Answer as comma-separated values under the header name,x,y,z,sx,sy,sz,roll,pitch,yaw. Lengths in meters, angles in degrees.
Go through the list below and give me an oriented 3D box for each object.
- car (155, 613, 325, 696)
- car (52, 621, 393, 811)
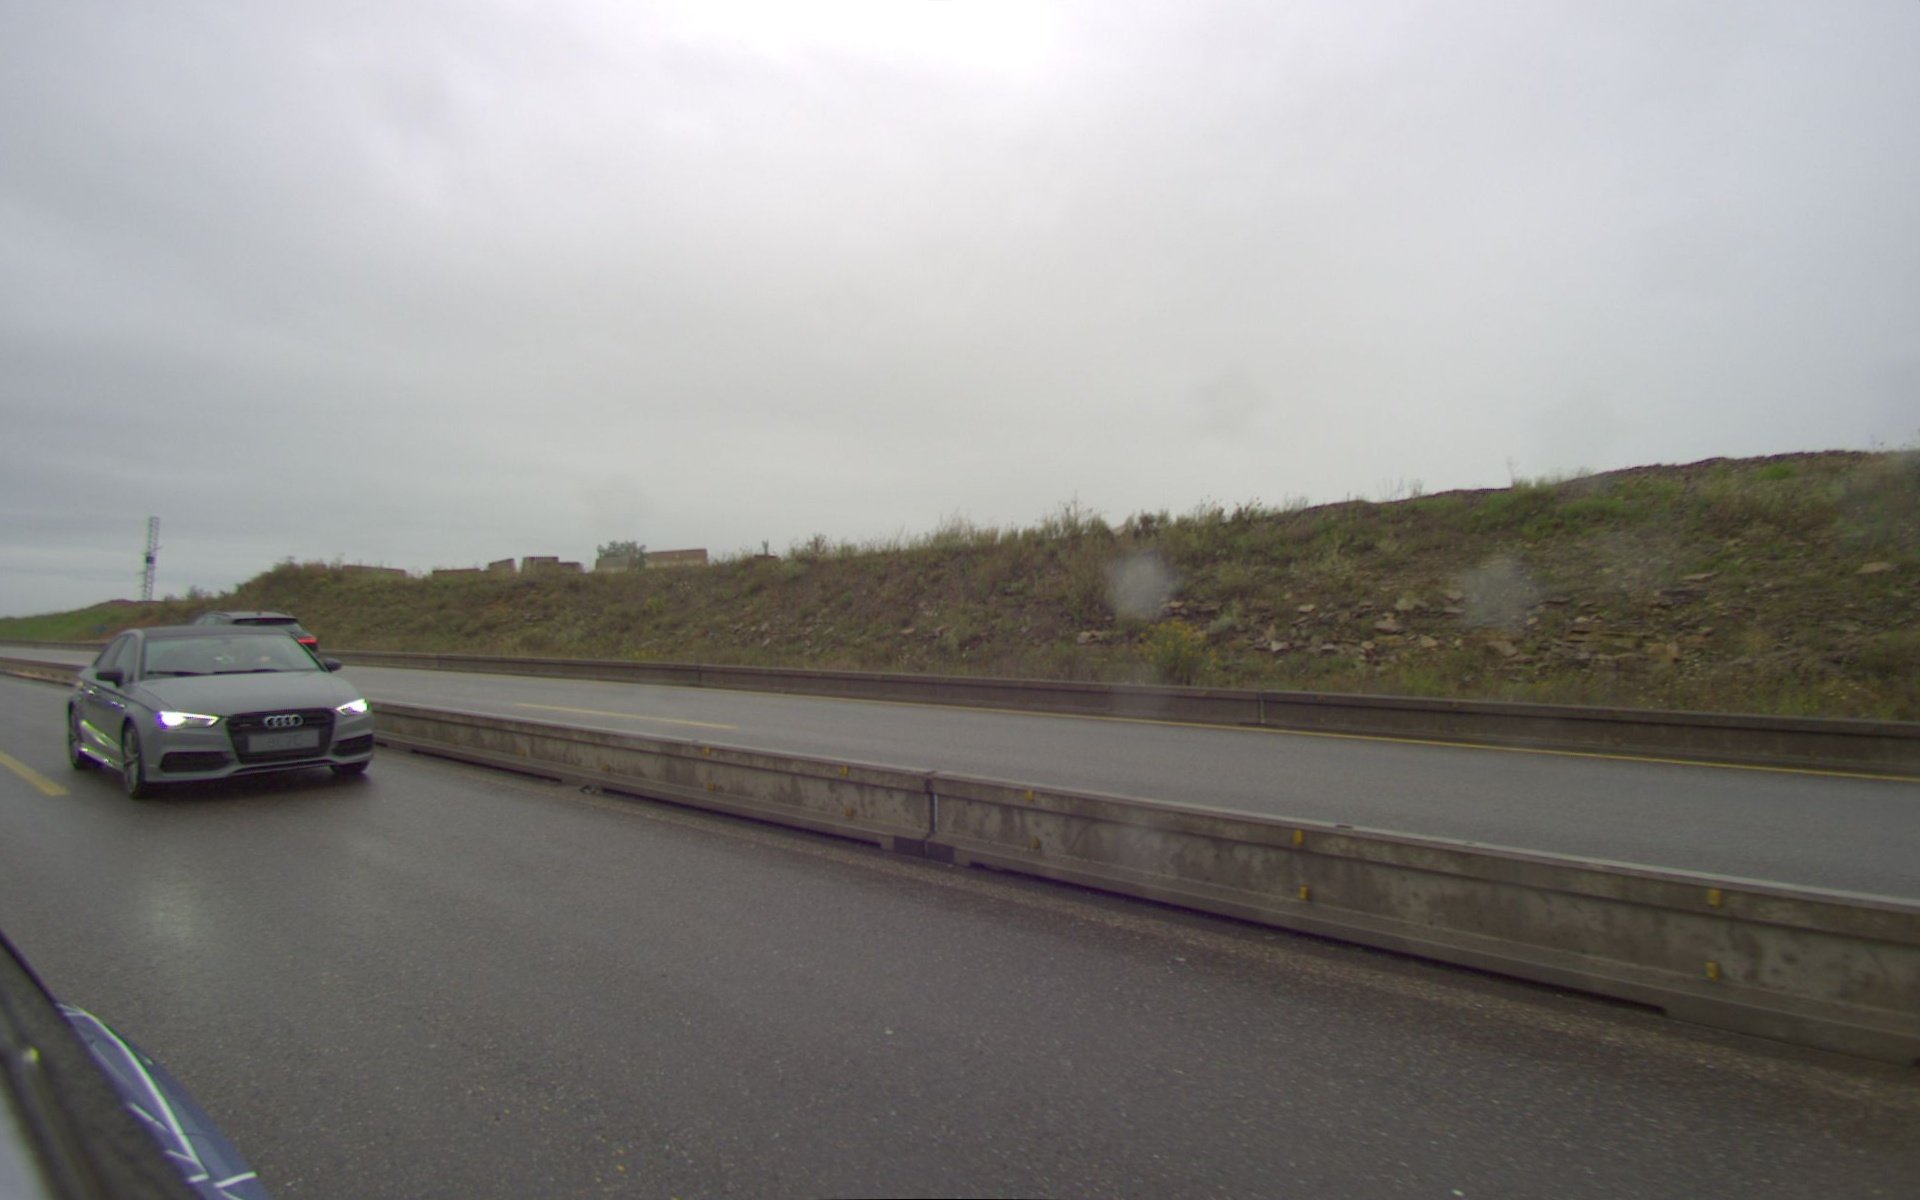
name,x,y,z,sx,sy,sz,roll,pitch,yaw
car,-15.547,1.107,21.754,4.898,1.605,1.793,-1,-2,40
car,-7.120,0.910,9.616,4.086,1.393,1.781,-1,-1,41
